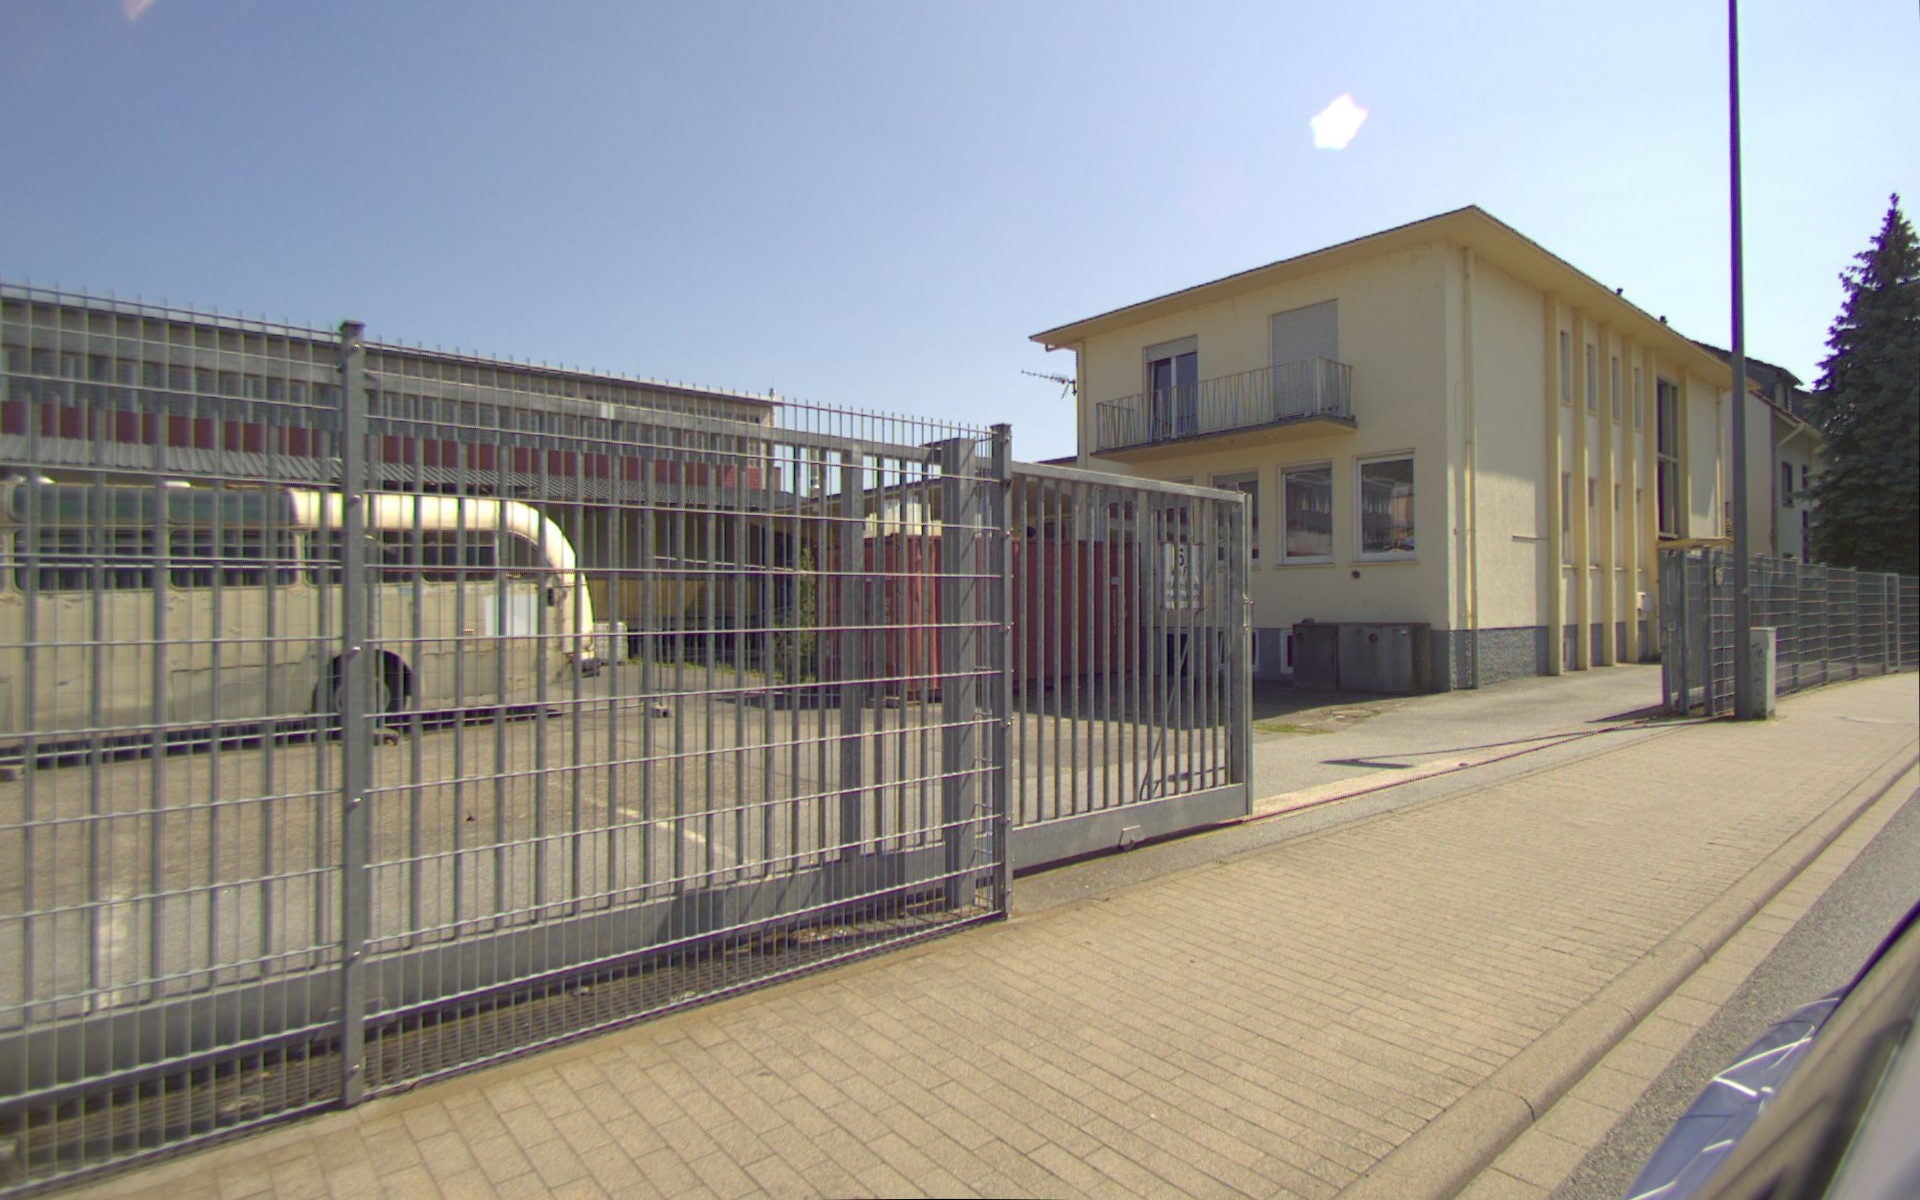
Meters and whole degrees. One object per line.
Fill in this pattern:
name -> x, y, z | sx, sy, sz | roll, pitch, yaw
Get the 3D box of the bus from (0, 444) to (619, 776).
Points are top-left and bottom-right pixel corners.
bus -> -9.318, 0.071, 11.425 | 10.089, 3.211, 2.570 | -2, 1, -40
